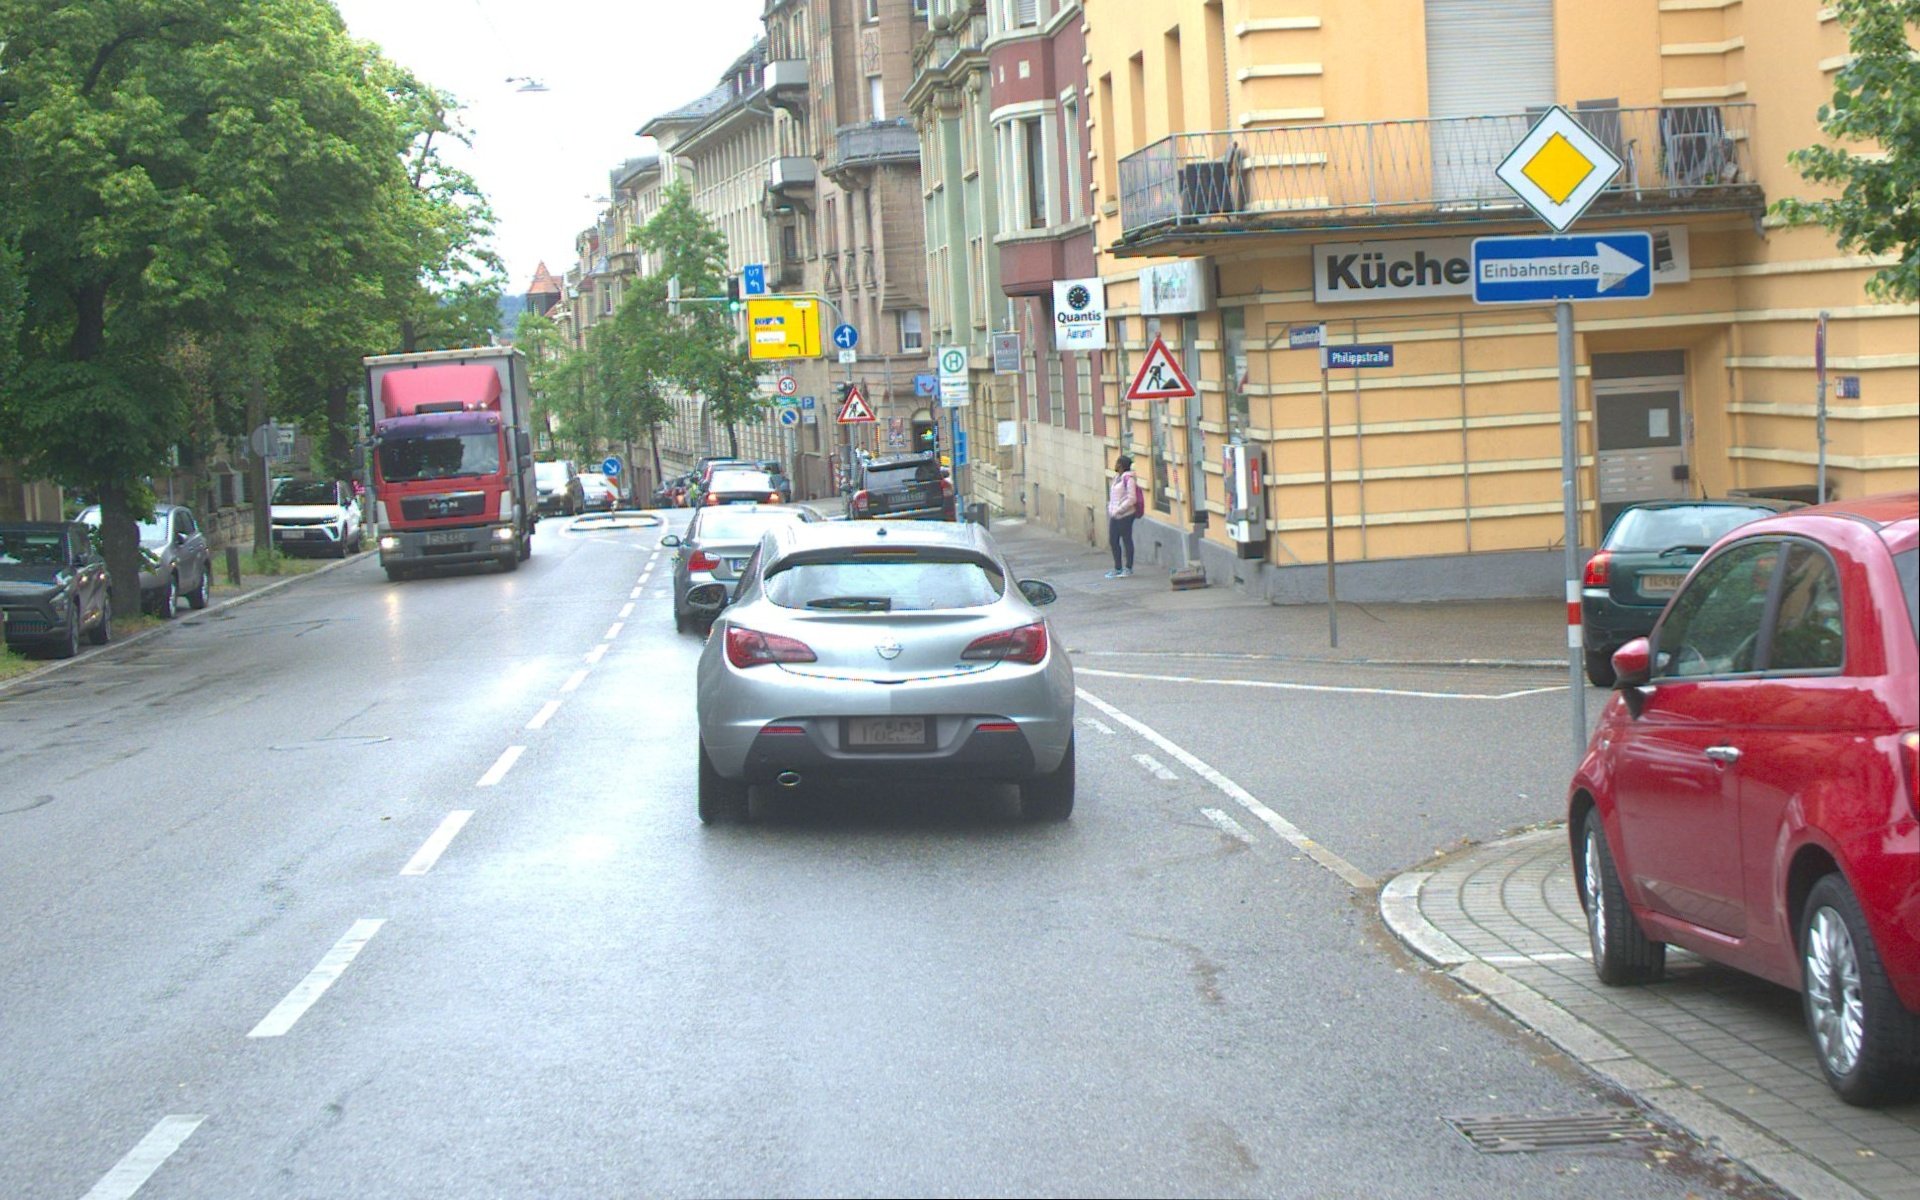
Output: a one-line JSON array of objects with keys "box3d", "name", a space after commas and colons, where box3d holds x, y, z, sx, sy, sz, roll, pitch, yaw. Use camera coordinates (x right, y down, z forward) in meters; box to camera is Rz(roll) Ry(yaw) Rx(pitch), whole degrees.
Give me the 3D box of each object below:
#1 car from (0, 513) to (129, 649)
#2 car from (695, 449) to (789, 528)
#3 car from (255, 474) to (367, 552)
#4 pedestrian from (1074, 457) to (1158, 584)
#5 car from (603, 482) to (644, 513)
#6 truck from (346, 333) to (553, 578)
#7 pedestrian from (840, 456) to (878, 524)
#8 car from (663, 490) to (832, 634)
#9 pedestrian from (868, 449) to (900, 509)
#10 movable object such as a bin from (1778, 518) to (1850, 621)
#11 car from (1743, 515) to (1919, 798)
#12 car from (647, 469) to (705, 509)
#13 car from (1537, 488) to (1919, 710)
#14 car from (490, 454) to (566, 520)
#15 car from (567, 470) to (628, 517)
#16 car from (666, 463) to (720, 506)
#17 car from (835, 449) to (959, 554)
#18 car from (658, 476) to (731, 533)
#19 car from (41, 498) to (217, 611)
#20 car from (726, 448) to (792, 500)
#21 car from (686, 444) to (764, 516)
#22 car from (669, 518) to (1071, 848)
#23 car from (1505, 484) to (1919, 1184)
[{"box3d": [-11.375, -0.274, 42.260, 1.741, 1.554, 4.303, 0, 2, -7], "name": "car"}, {"box3d": [-4.356, -2.227, 68.808, 1.772, 1.499, 3.870, -2, 2, -3], "name": "car"}, {"box3d": [-13.486, -1.831, 71.617, 1.741, 1.554, 4.303, -1, 2, -3], "name": "car"}, {"box3d": [2.008, -1.022, 44.339, 0.766, 1.584, 0.712, -4, 2, -22], "name": "pedestrian"}, {"box3d": [-16.619, -5.061, 169.705, 1.637, 1.424, 3.378, -4, 2, -11], "name": "car"}, {"box3d": [-8.960, -2.568, 61.311, 2.647, 3.841, 9.309, -5, 3, -4], "name": "truck"}, {"box3d": [-2.751, -3.001, 93.672, 0.718, 1.768, 0.665, -4, 3, 15], "name": "pedestrian"}, {"box3d": [-2.398, -0.469, 38.908, 1.772, 1.499, 3.870, -2, 2, -3], "name": "car"}, {"box3d": [-2.065, -3.288, 93.456, 0.597, 1.579, 0.665, -4, 3, 15], "name": "pedestrian"}, {"box3d": [8.188, -0.294, 32.974, 0.505, 0.927, 0.513, -4, 5, -3], "name": "movable object such as a bin"}, {"box3d": [6.970, 0.288, 19.945, 4.266, 1.493, 2.003, 0, 2, -9], "name": "car"}, {"box3d": [-11.863, -4.600, 143.303, 1.757, 1.456, 4.725, -6, 2, -11], "name": "car"}, {"box3d": [6.161, -0.050, 27.169, 1.852, 1.464, 4.104, -2, 2, 29], "name": "car"}, {"box3d": [-11.735, -3.110, 93.652, 1.772, 1.512, 4.592, -3, 4, -5], "name": "car"}, {"box3d": [-12.473, -3.678, 118.160, 1.815, 1.512, 4.550, -2, 3, -9], "name": "car"}, {"box3d": [-10.680, -4.620, 137.565, 1.638, 1.515, 3.184, -6, 2, -11], "name": "car"}, {"box3d": [-1.165, -1.774, 61.596, 1.876, 1.624, 4.698, -6, 2, -3], "name": "car"}, {"box3d": [-7.945, -2.844, 102.600, 1.656, 1.537, 3.666, -5, 2, -10], "name": "car"}, {"box3d": [-12.105, -0.701, 50.327, 1.741, 1.554, 4.303, -1, 2, -3], "name": "car"}, {"box3d": [-6.815, -4.246, 116.171, 1.656, 1.537, 3.666, -5, 2, -10], "name": "car"}, {"box3d": [-5.602, -2.820, 81.542, 1.656, 1.537, 3.666, -5, 2, -5], "name": "car"}, {"box3d": [-0.503, 0.334, 17.774, 1.811, 1.444, 3.870, -2, 2, -3], "name": "car"}, {"box3d": [2.791, 0.460, 9.510, 1.609, 1.496, 3.959, -4, 2, -4], "name": "car"}]
